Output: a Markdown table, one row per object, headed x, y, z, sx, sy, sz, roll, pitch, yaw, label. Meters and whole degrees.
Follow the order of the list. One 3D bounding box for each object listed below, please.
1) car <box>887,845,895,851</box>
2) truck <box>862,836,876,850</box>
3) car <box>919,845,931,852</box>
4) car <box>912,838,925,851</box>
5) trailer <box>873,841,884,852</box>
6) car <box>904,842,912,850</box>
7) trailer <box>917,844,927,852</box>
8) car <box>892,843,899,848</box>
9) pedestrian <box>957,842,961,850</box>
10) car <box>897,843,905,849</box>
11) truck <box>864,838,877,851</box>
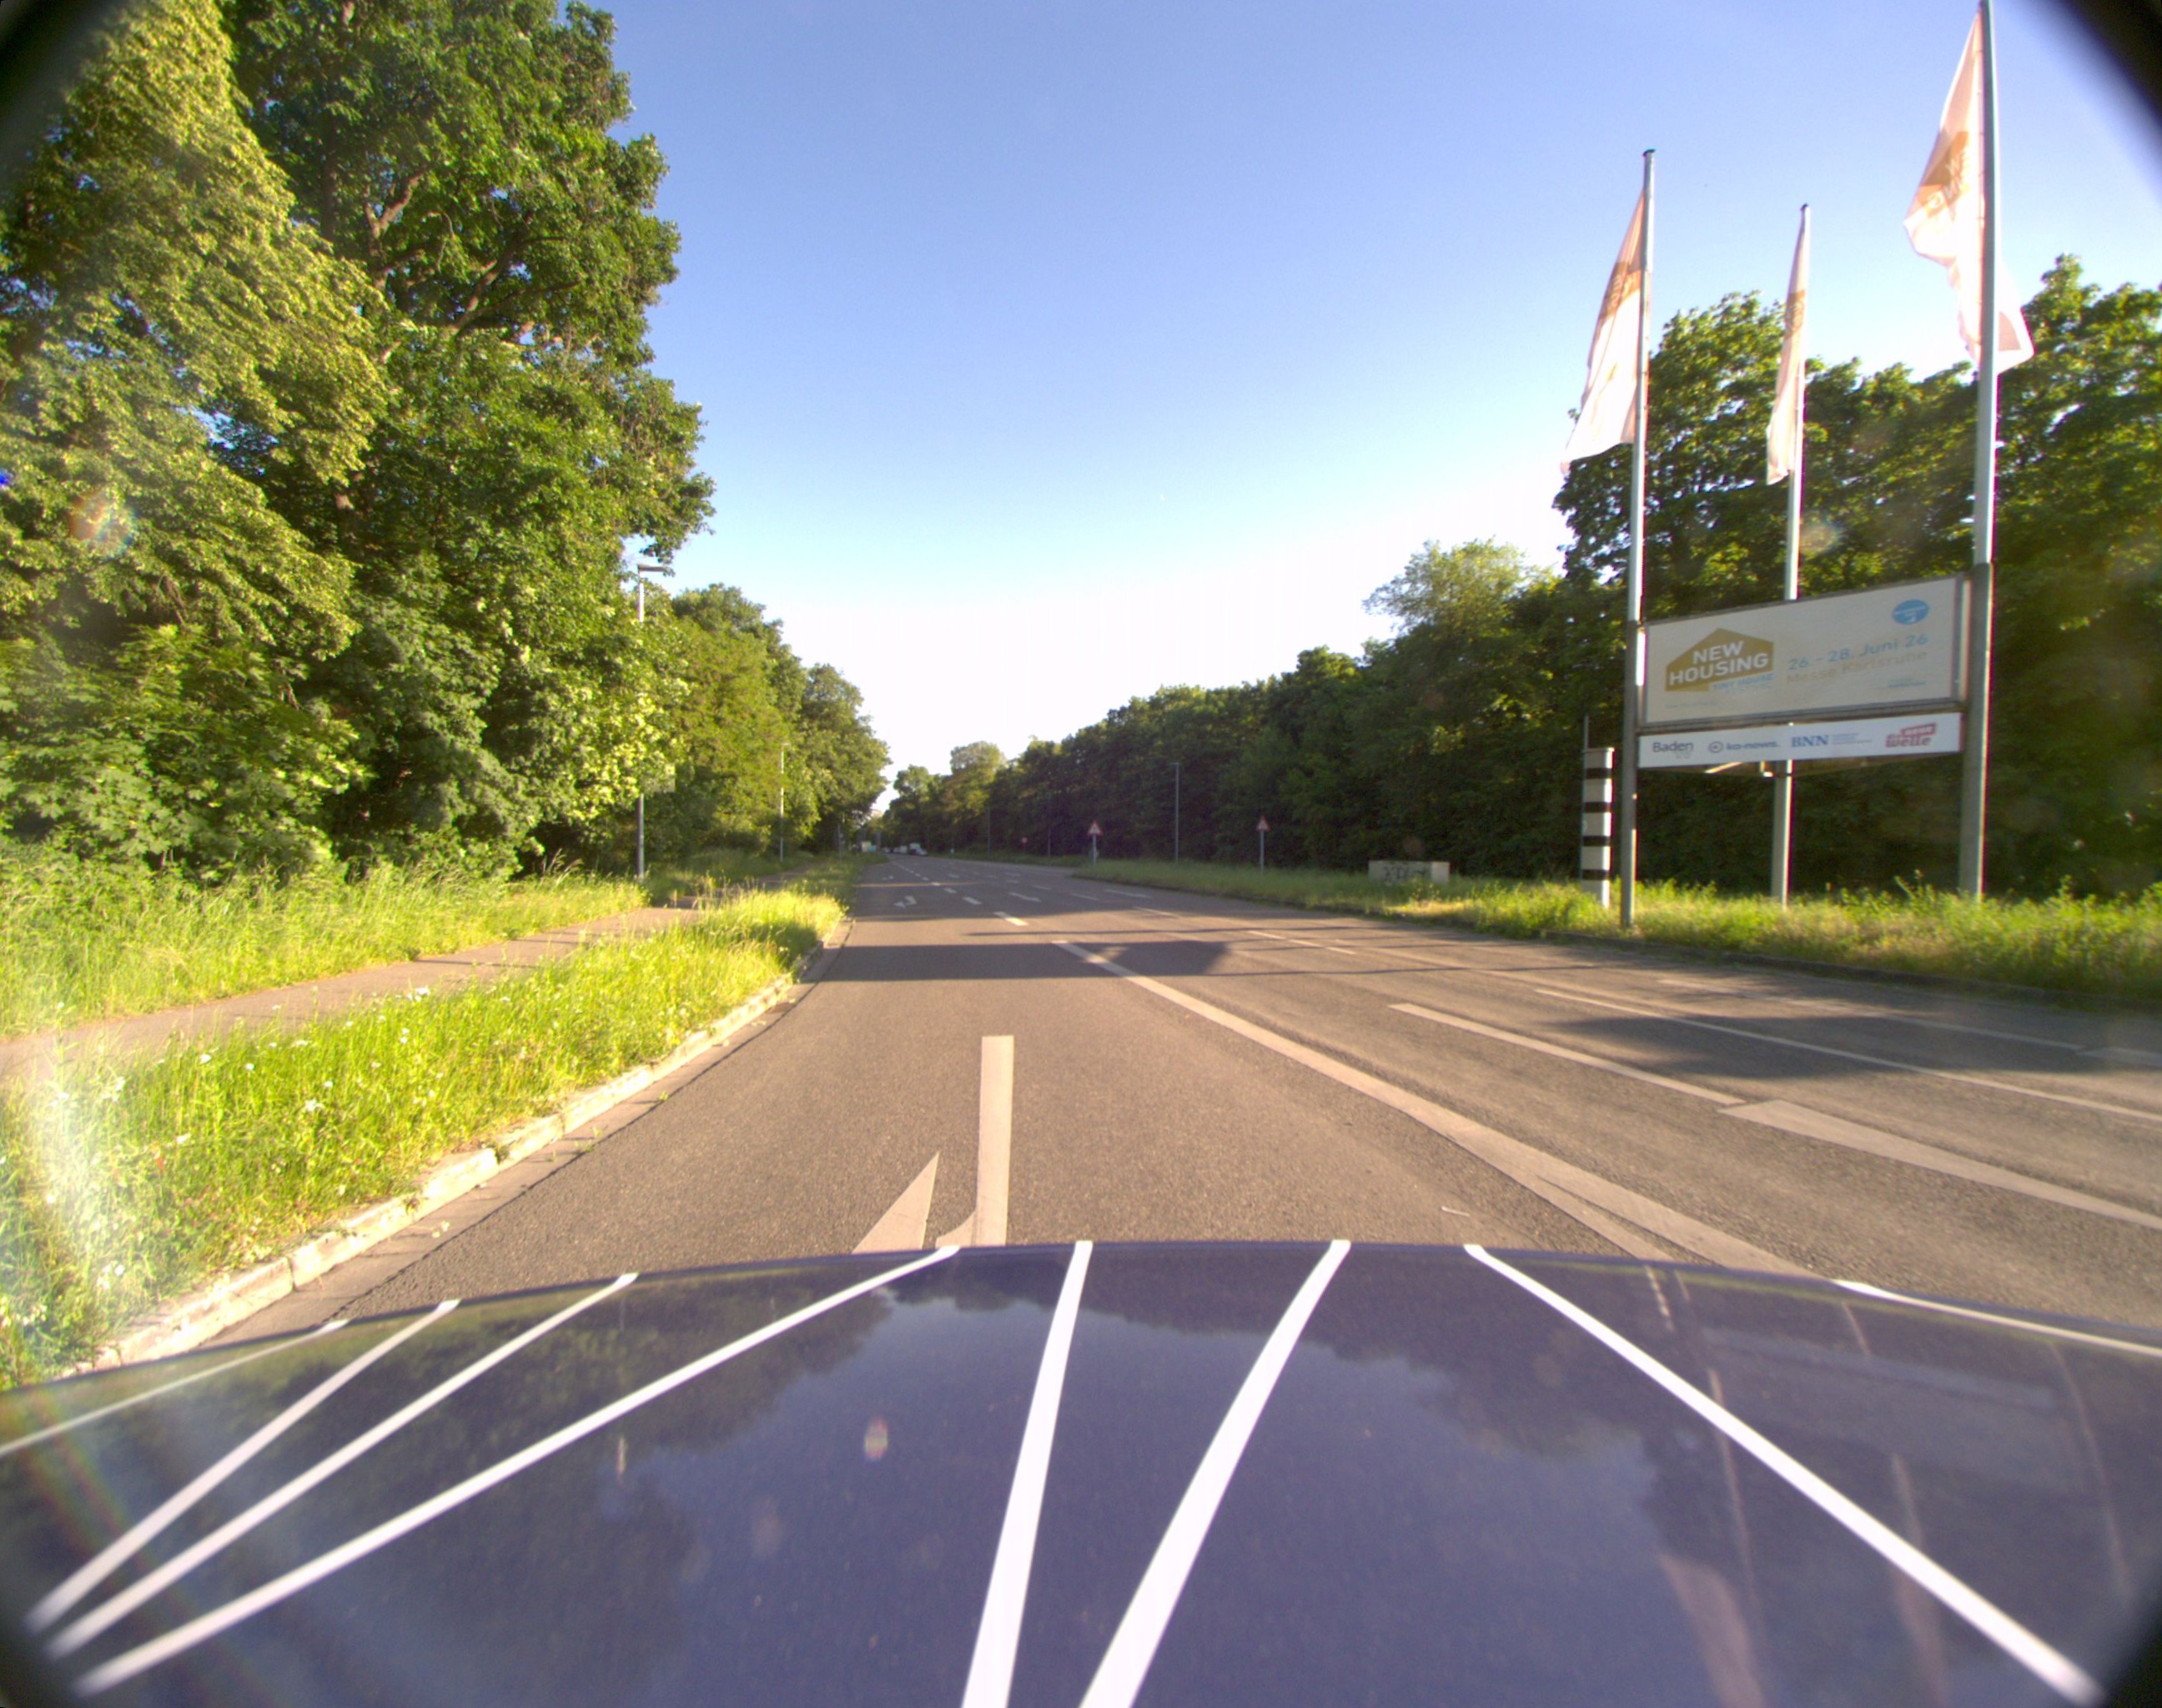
| x | y | z | sx | sy | sz | roll | pitch | yaw | label |
| --- | --- | --- | --- | --- | --- | --- | --- | --- | --- |
| -54.020 | -1.727 | 215.894 | 1.836 | 1.447 | 4.472 | 0 | 1 | -20 | car |
| -50.919 | -2.769 | 182.362 | 2.710 | 3.219 | 7.115 | 2 | 1 | -19 | truck |
| -33.723 | -1.227 | 164.256 | 1.918 | 1.455 | 4.004 | 2 | 1 | -19 | car |
| -38.718 | -2.257 | 180.807 | 2.464 | 2.831 | 4.790 | 2 | 1 | -19 | car |
| -41.822 | -1.582 | 156.853 | 1.872 | 2.166 | 4.121 | -1 | 2 | -19 | trailer |
| -48.154 | -2.338 | 211.134 | 1.694 | 2.089 | 4.624 | 1 | 1 | -19 | car |
| -35.369 | -1.425 | 168.984 | 1.809 | 1.719 | 3.641 | 2 | 1 | -19 | trailer |
| -57.993 | -2.639 | 237.752 | 1.809 | 1.496 | 3.905 | 2 | 1 | -19 | car |
| -24.735 | -1.596 | 153.950 | 0.714 | 1.556 | 0.825 | 1 | 1 | -16 | pedestrian |
| -52.840 | -2.306 | 222.783 | 1.809 | 1.496 | 3.905 | 2 | 1 | -19 | car |
| -48.115 | -2.136 | 173.343 | 2.393 | 2.856 | 5.588 | -2 | 2 | -19 | truck |
